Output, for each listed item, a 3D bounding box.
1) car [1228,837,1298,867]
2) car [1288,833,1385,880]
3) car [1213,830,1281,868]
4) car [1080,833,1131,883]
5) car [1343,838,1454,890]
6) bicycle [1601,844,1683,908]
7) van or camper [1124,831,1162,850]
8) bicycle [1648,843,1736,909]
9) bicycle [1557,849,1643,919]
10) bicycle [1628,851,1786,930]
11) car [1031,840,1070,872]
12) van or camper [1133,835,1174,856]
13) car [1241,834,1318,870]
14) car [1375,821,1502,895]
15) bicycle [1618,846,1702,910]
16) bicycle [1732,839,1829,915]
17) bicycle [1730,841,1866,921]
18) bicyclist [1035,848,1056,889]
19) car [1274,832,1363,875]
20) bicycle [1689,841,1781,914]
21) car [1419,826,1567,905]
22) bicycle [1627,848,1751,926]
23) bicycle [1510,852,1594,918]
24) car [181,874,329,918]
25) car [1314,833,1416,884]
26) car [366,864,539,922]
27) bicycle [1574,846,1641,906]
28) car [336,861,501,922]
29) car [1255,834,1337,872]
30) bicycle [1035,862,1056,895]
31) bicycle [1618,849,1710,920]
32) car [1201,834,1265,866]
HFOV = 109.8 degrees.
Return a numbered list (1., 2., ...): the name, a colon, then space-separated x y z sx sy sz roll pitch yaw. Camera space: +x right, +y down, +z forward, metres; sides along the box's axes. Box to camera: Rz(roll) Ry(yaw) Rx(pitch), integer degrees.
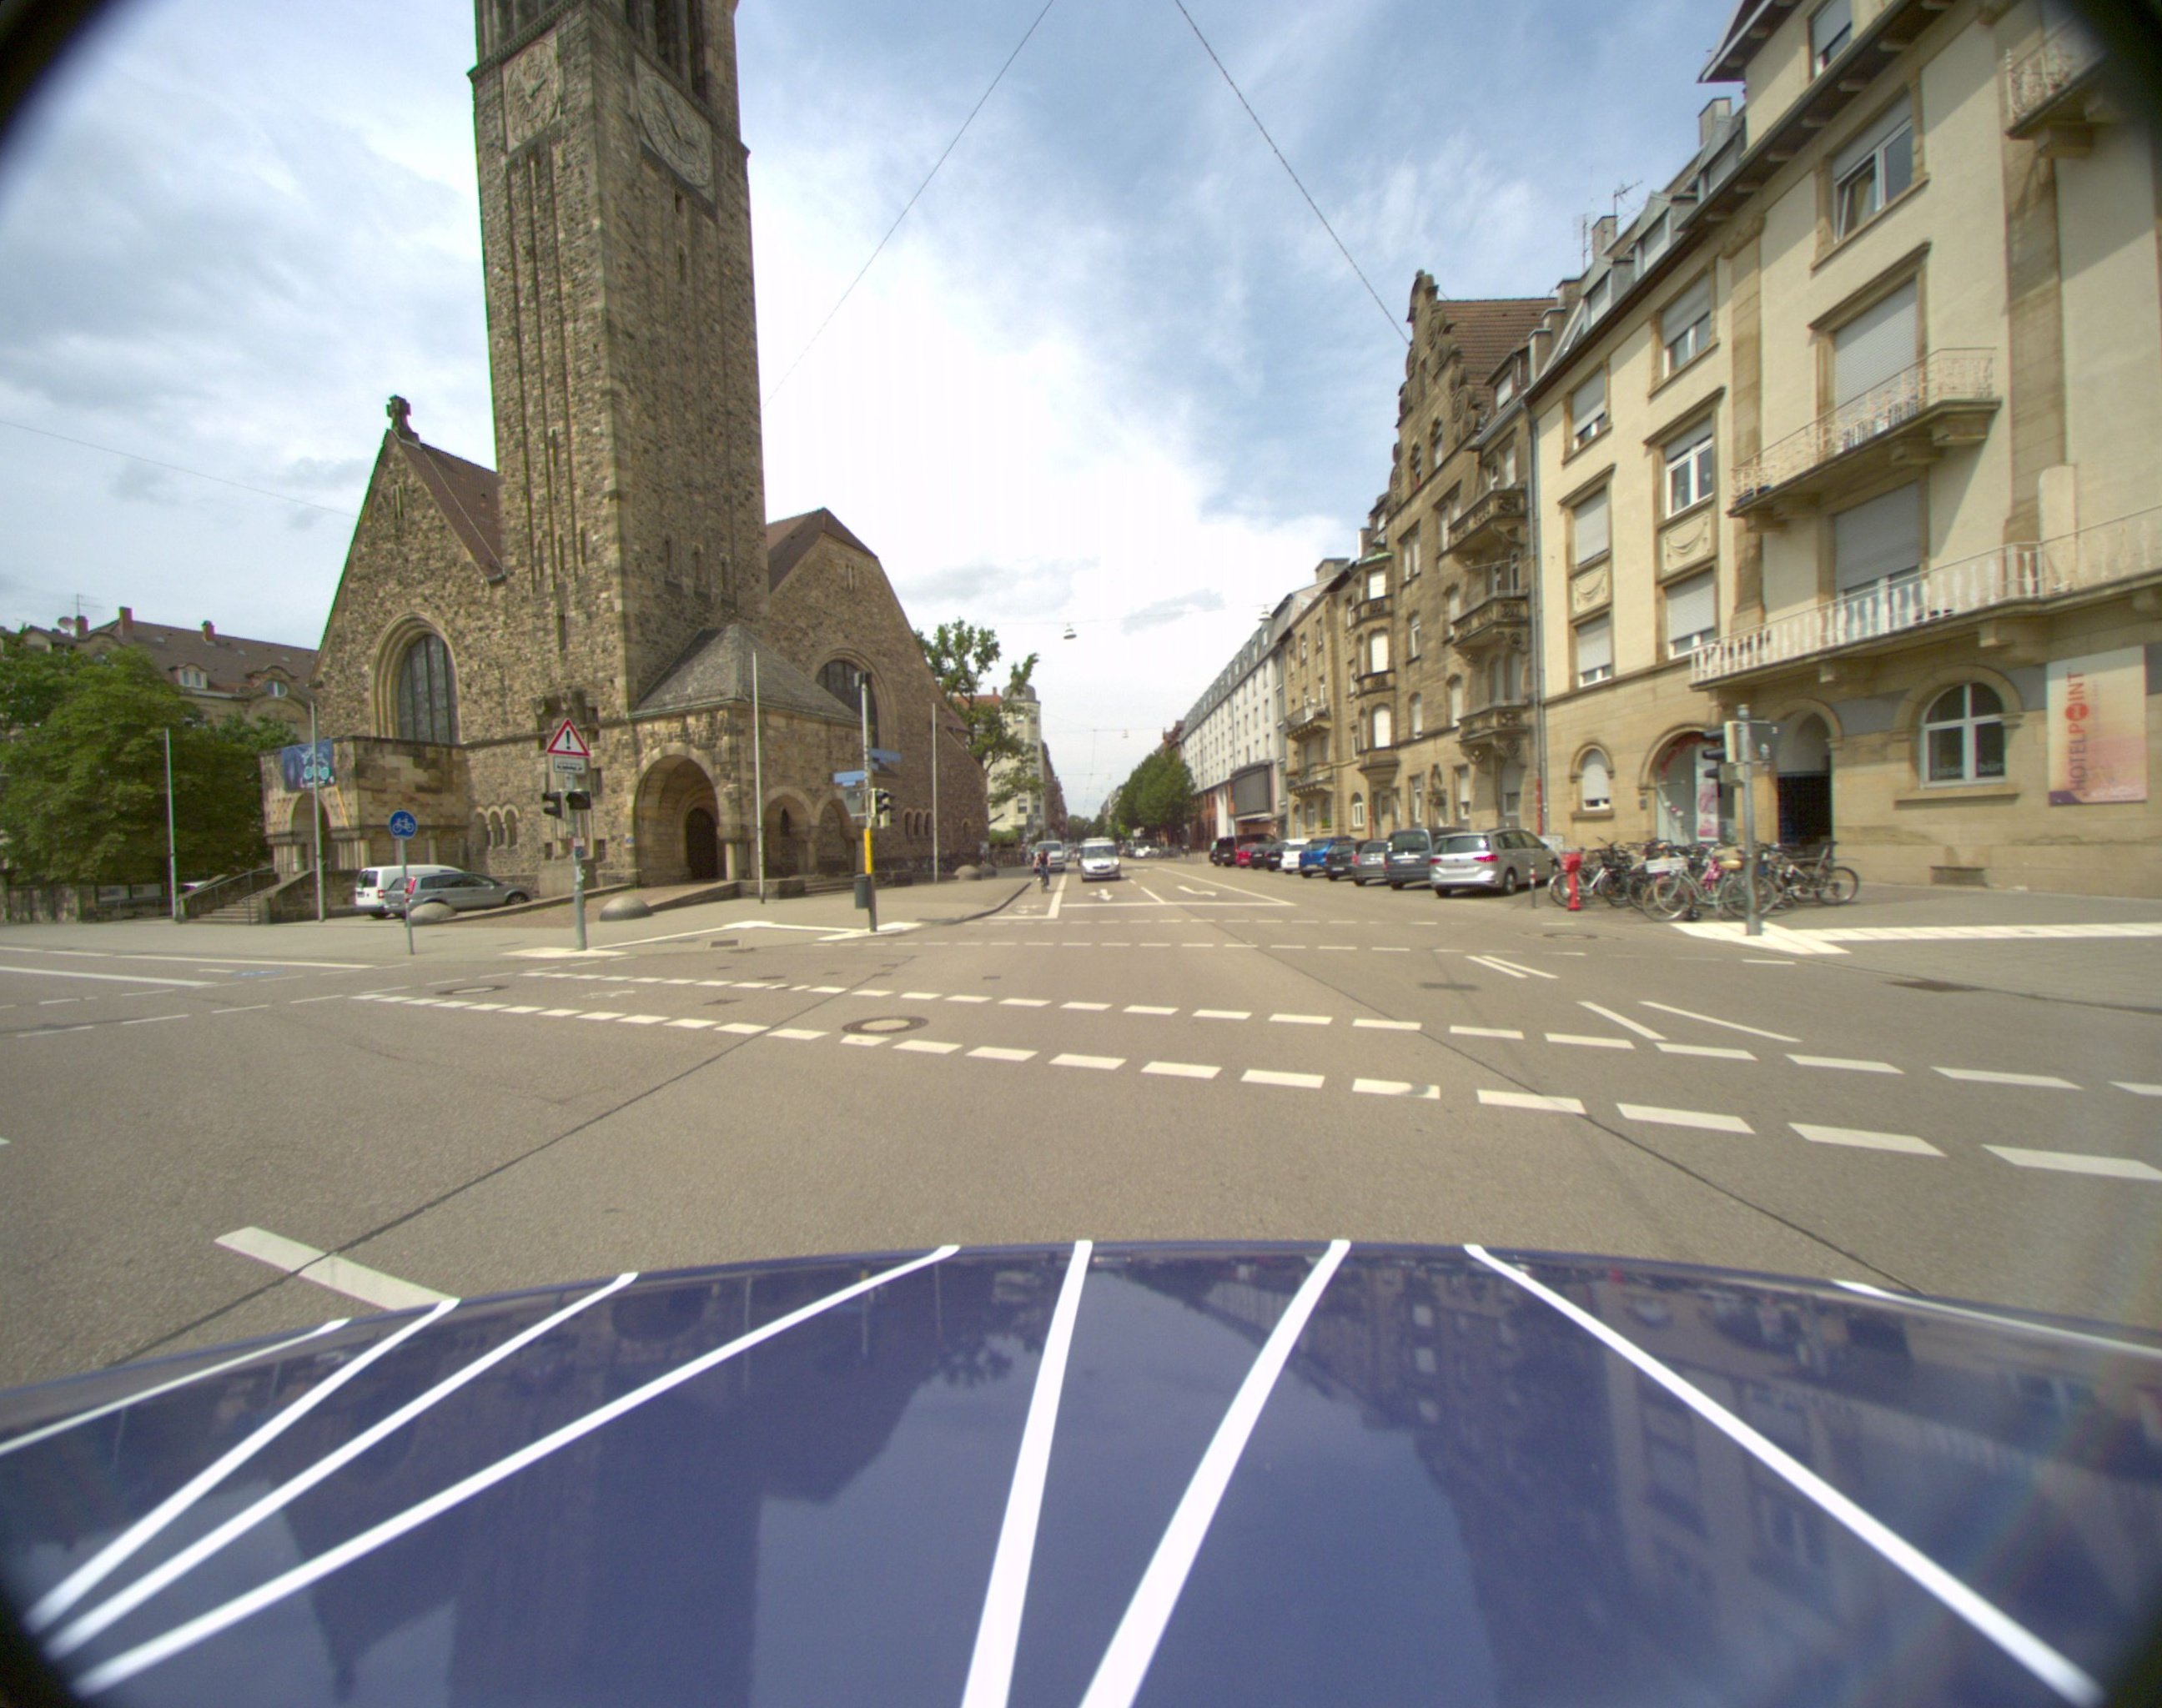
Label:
1. car: 10.507 -0.112 43.693 3.834 1.526 1.755 -3 1 -34
2. car: 10.631 0.104 31.521 3.833 1.526 1.755 -6 0 -34
3. car: 10.134 -0.325 46.321 3.833 1.882 1.755 -6 0 -34
4. car: 1.104 0.125 34.788 2.082 2.039 4.680 -2 1 1
5. car: 10.636 0.291 25.332 3.835 1.526 1.754 -3 1 -39
6. bicycle: 11.355 0.443 15.390 1.345 1.185 0.397 -4 1 -5
7. van or camper: 7.092 -1.600 87.256 4.000 2.002 1.998 -2 1 -8
8. bicycle: 11.526 0.410 14.349 1.345 1.185 0.397 -2 1 -1
9. bicycle: 9.891 0.565 14.484 1.345 1.185 0.397 -5 1 -6
10. bicycle: 9.953 0.591 12.139 1.872 1.185 0.456 -3 1 19
11. car: -1.881 0.079 47.974 2.082 1.852 4.680 -2 1 1
12. van or camper: 7.474 -0.858 78.682 3.998 2.002 1.999 -2 1 -3
13. car: 10.688 -0.098 40.844 3.833 1.526 1.755 -6 0 -34
14. car: 10.711 0.094 22.666 3.834 1.808 1.755 -6 0 -39
15. bicycle: 11.335 0.462 14.885 1.345 1.185 0.397 -2 1 -2
16. bicycle: 12.230 0.396 13.297 1.345 1.185 0.397 -5 1 -6
17. bicycle: 11.926 0.441 12.658 1.830 1.185 0.397 -4 0 -1
18. bicyclist: -1.317 0.526 28.273 0.588 1.488 0.839 -4 1 1
19. car: 10.926 -0.035 34.849 3.833 1.526 1.755 -6 0 -34
20. bicycle: 11.937 0.420 13.866 1.345 1.185 0.397 -5 1 -6
21. car: 10.521 0.255 19.296 4.042 1.580 1.755 -6 0 -39
22. bicycle: 10.528 0.558 13.166 1.821 1.185 0.397 -4 1 -3
23. bicycle: 9.410 0.610 15.194 1.345 1.185 0.397 -5 1 -1
24. car: -36.695 1.834 33.890 1.995 1.631 3.960 -2 1 25
25. car: 10.700 0.154 28.555 3.834 1.526 1.755 -6 0 -39
26. car: -21.374 1.268 26.025 1.995 1.641 4.006 -2 1 25
27. bicycle: 11.081 0.457 15.996 1.347 1.185 0.397 -3 1 -17
28. car: -23.884 1.299 27.563 1.995 1.871 3.960 -2 1 25
29. car: 10.759 -0.053 38.003 3.833 1.526 1.755 -6 0 -34
30. bicycle: -1.296 0.897 28.095 0.598 1.079 1.812 -4 1 1
31. bicycle: 10.605 0.544 13.827 1.345 1.185 0.397 -4 1 -3
32. car: 9.930 -0.258 49.512 3.833 1.676 1.755 -6 0 -34
